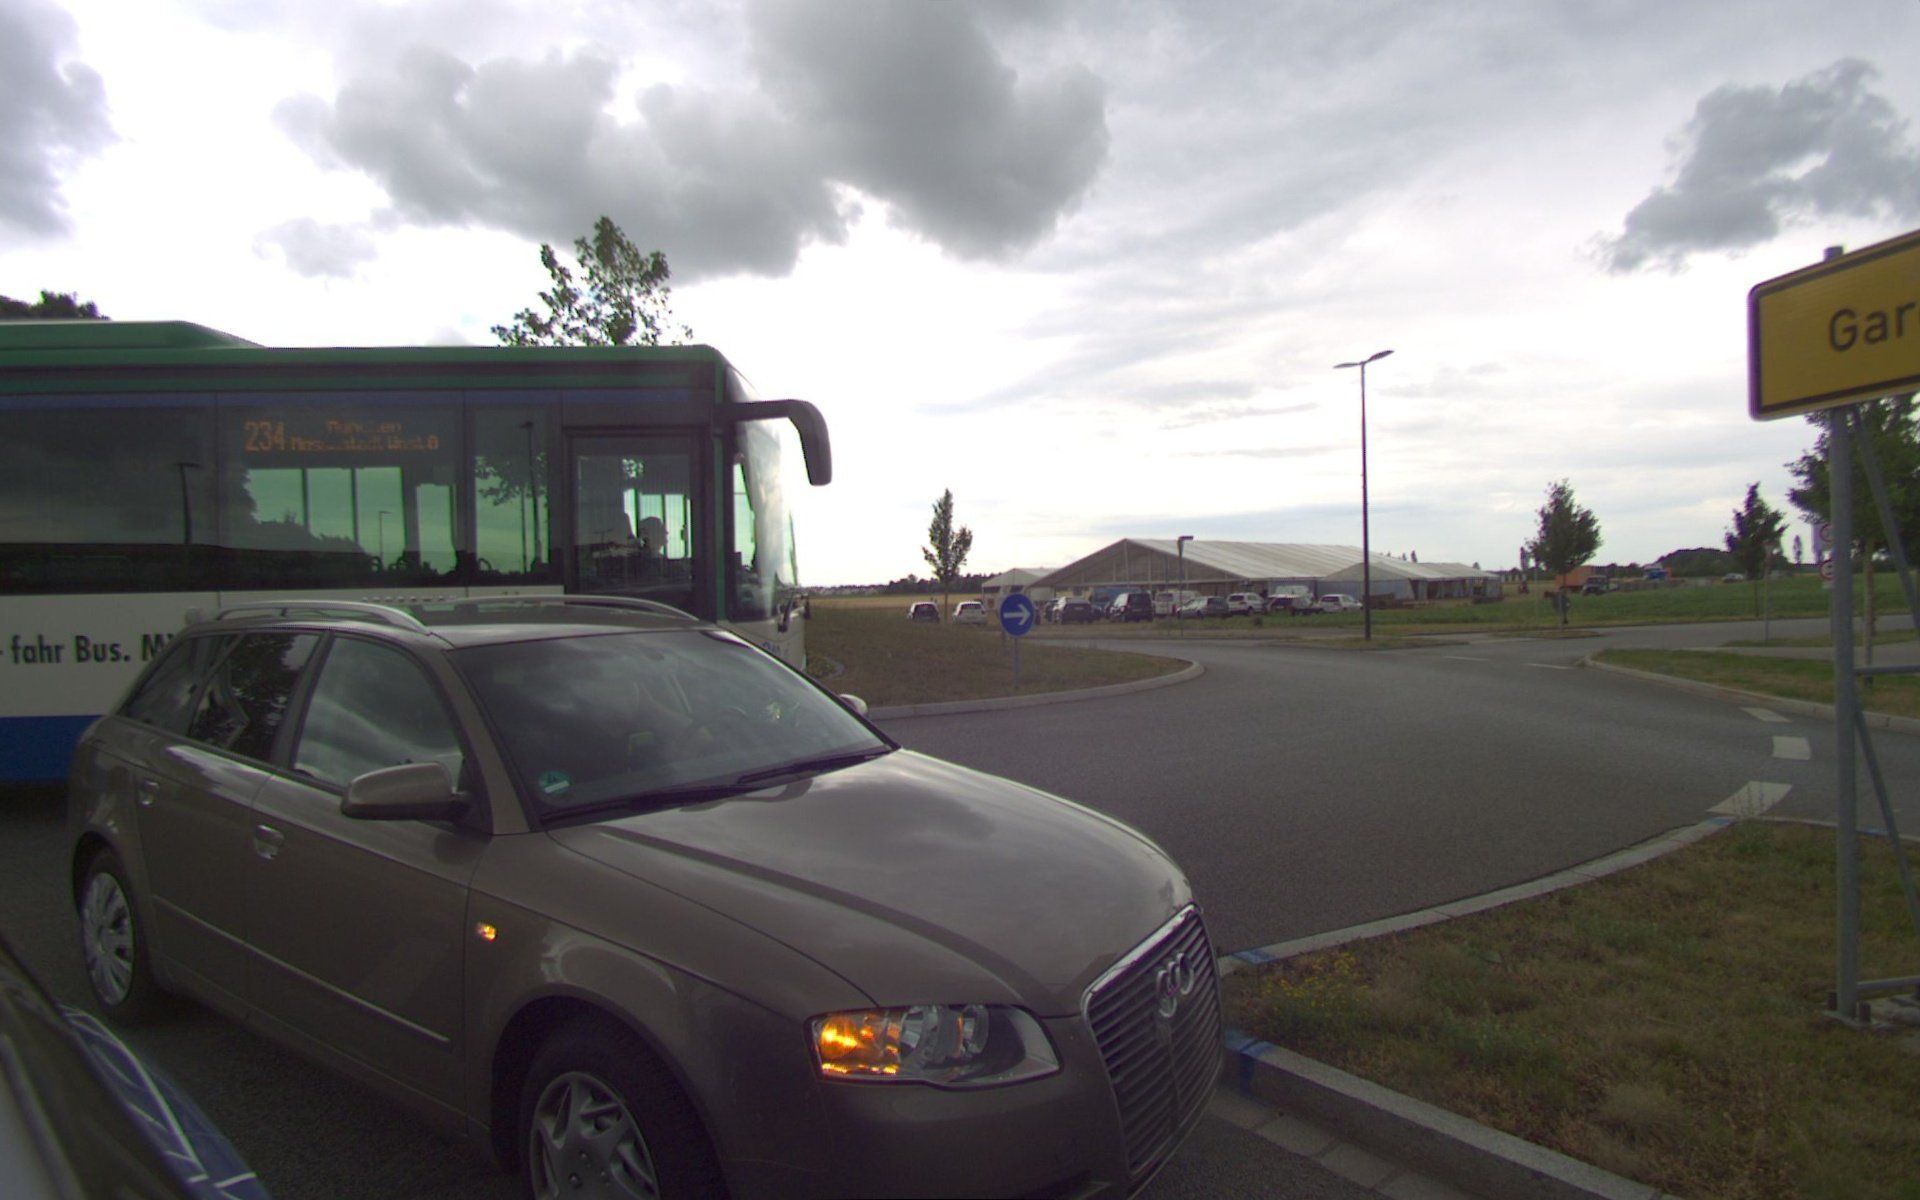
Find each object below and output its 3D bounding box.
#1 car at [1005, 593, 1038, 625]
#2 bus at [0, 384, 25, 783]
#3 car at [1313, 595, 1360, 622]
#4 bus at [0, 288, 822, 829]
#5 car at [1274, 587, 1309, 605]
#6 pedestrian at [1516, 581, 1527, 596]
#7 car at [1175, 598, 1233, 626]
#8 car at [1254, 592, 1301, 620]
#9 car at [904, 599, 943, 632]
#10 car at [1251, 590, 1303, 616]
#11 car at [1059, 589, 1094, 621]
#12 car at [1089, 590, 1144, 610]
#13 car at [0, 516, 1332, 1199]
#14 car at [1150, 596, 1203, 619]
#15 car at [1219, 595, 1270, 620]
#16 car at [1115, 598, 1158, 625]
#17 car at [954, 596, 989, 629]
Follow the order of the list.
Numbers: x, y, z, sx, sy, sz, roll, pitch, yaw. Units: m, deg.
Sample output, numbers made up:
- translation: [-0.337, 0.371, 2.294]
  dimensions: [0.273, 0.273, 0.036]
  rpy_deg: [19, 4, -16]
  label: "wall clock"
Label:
- translation: [3.481, 0.491, 57.460]
  dimensions: [1.694, 1.564, 3.996]
  rpy_deg: [-4, 2, 4]
  label: "car"
- translation: [-10.537, -0.135, 7.201]
  dimensions: [5.381, 3.283, 2.526]
  rpy_deg: [0, 0, -2]
  label: "bus"
- translation: [24.231, 0.525, 65.085]
  dimensions: [1.729, 1.565, 3.950]
  rpy_deg: [-1, 0, 37]
  label: "car"
- translation: [-4.377, -0.256, 7.437]
  dimensions: [6.454, 3.283, 2.526]
  rpy_deg: [0, 0, -1]
  label: "bus"
- translation: [32.343, -0.365, 98.599]
  dimensions: [1.835, 1.618, 3.776]
  rpy_deg: [-1, 1, 42]
  label: "car"
- translation: [75.091, -1.541, 135.298]
  dimensions: [1.050, 2.029, 1.047]
  rpy_deg: [-1, 1, 38]
  label: "pedestrian"
- translation: [14.733, 0.689, 61.305]
  dimensions: [1.705, 1.618, 3.887]
  rpy_deg: [-2, 0, -15]
  label: "car"
- translation: [19.049, 0.324, 60.908]
  dimensions: [1.613, 1.618, 3.875]
  rpy_deg: [-2, 0, 1]
  label: "car"
- translation: [-2.024, 0.857, 57.268]
  dimensions: [1.694, 1.564, 3.996]
  rpy_deg: [-4, 2, 4]
  label: "car"
- translation: [21.046, 0.209, 67.127]
  dimensions: [1.835, 1.618, 3.776]
  rpy_deg: [-1, 0, 42]
  label: "car"
- translation: [6.668, 0.259, 58.181]
  dimensions: [1.694, 1.564, 3.996]
  rpy_deg: [-4, 2, 4]
  label: "car"
- translation: [11.993, -0.001, 77.572]
  dimensions: [3.934, 1.453, 1.956]
  rpy_deg: [-2, 0, -35]
  label: "car"
- translation: [-1.337, 0.655, 3.328]
  dimensions: [4.527, 1.476, 1.764]
  rpy_deg: [-1, 0, 33]
  label: "car"
- translation: [15.204, 0.510, 71.015]
  dimensions: [1.951, 1.453, 3.945]
  rpy_deg: [-1, 1, 41]
  label: "car"
- translation: [19.402, 0.492, 68.948]
  dimensions: [1.835, 1.618, 3.776]
  rpy_deg: [-1, 0, 42]
  label: "car"
- translation: [10.082, 0.625, 58.058]
  dimensions: [1.926, 1.453, 3.996]
  rpy_deg: [-1, 0, 3]
  label: "car"
- translation: [0.709, 0.675, 57.384]
  dimensions: [1.694, 1.564, 3.996]
  rpy_deg: [-4, 2, 4]
  label: "car"
